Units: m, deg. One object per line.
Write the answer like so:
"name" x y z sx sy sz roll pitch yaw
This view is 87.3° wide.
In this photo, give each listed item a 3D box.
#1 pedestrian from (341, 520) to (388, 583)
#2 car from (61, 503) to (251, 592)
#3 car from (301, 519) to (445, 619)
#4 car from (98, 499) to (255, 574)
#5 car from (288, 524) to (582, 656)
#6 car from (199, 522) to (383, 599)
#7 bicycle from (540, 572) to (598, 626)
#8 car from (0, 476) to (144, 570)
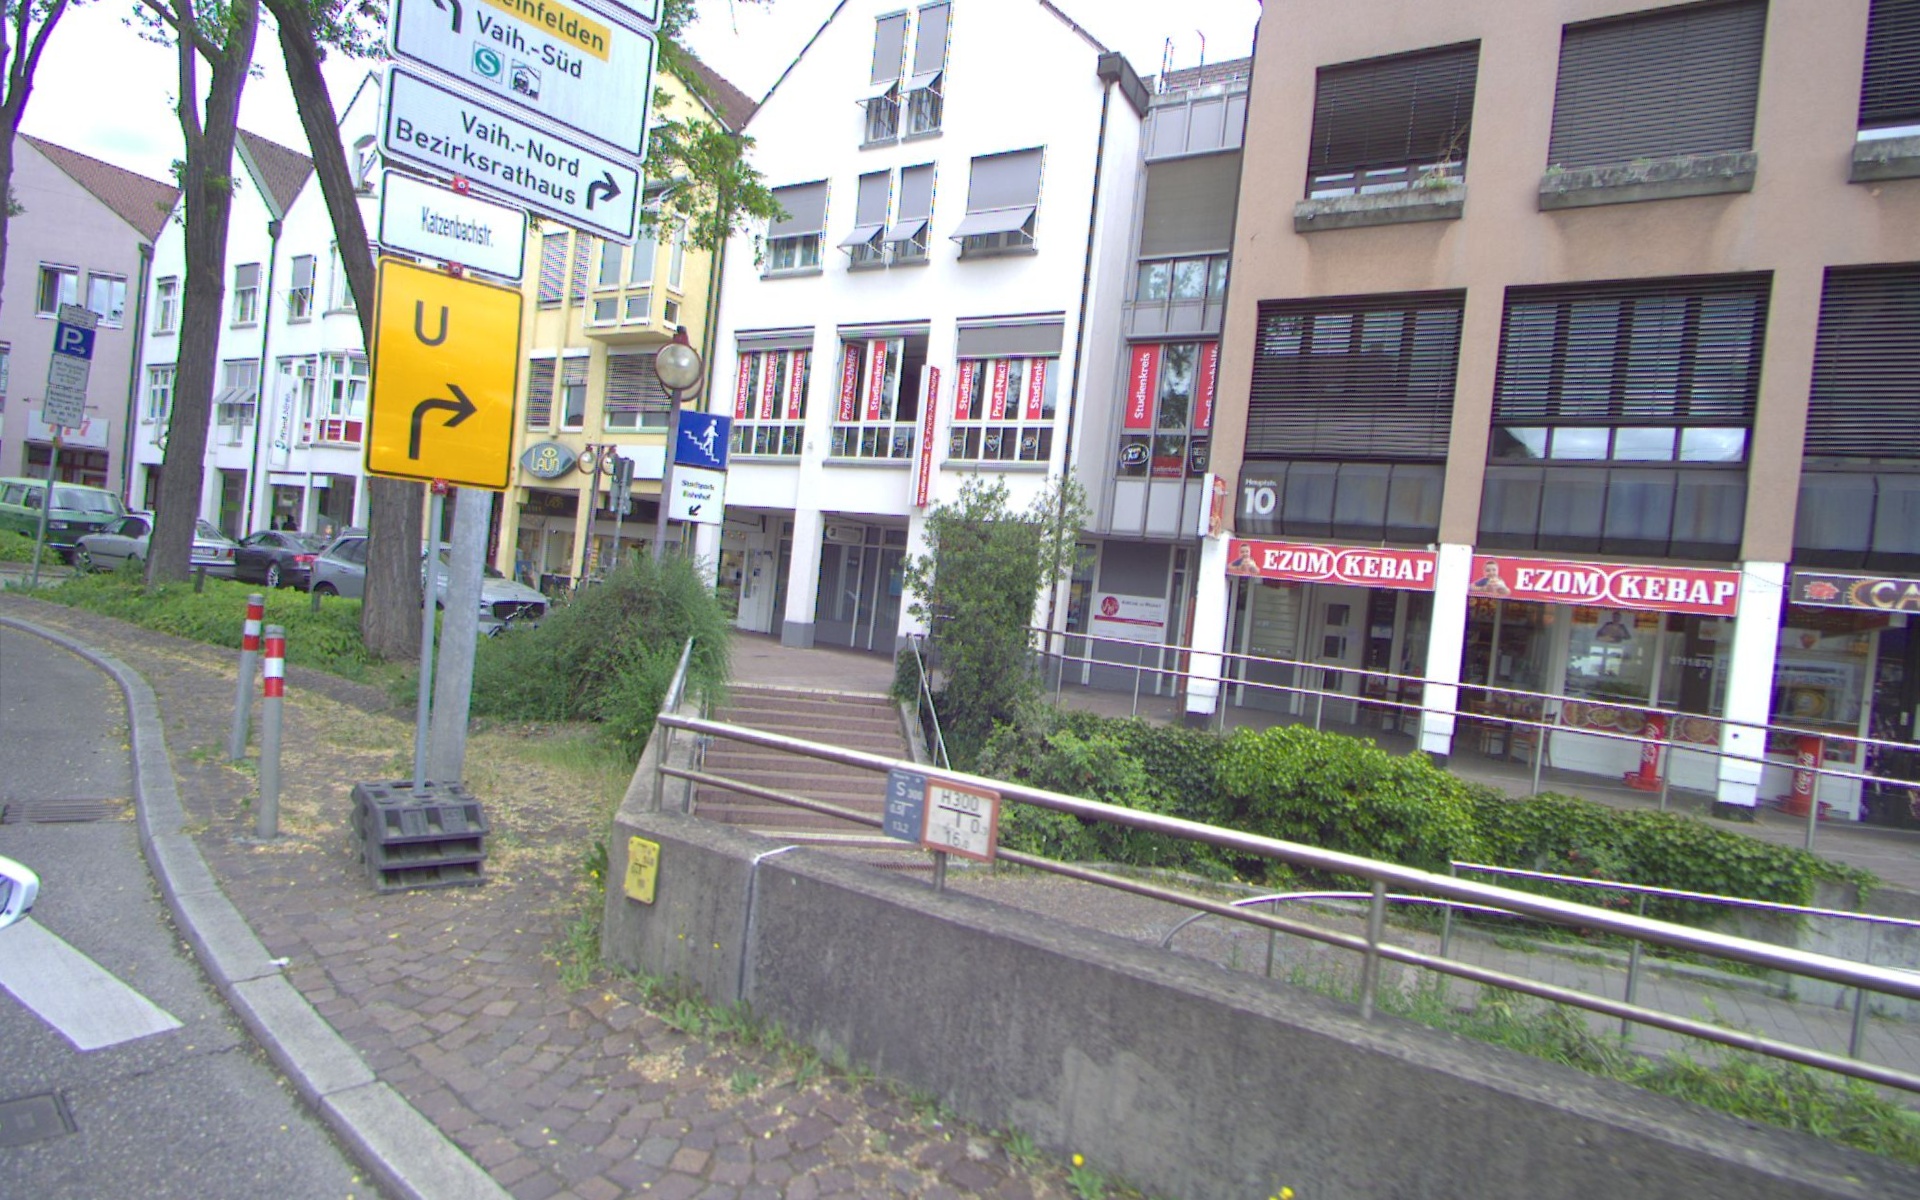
"pedestrian" -17.119 -1.397 28.921 0.805 1.682 0.789 7 3 31
"car" -18.034 -1.192 22.517 4.344 1.468 1.765 7 0 30
"car" -12.589 -0.724 21.408 1.844 1.692 4.611 5 1 -40
"car" -21.360 -1.731 27.406 4.319 1.562 1.798 7 1 30
"car" -8.864 -0.183 16.915 4.681 1.615 1.997 7 0 28
"car" -16.563 -0.980 24.880 4.344 1.394 1.999 7 1 30
"bicycle" -8.783 -0.016 22.587 1.356 1.058 0.392 7 2 31
"car" -22.520 -1.964 25.008 4.527 1.900 1.882 7 2 30
